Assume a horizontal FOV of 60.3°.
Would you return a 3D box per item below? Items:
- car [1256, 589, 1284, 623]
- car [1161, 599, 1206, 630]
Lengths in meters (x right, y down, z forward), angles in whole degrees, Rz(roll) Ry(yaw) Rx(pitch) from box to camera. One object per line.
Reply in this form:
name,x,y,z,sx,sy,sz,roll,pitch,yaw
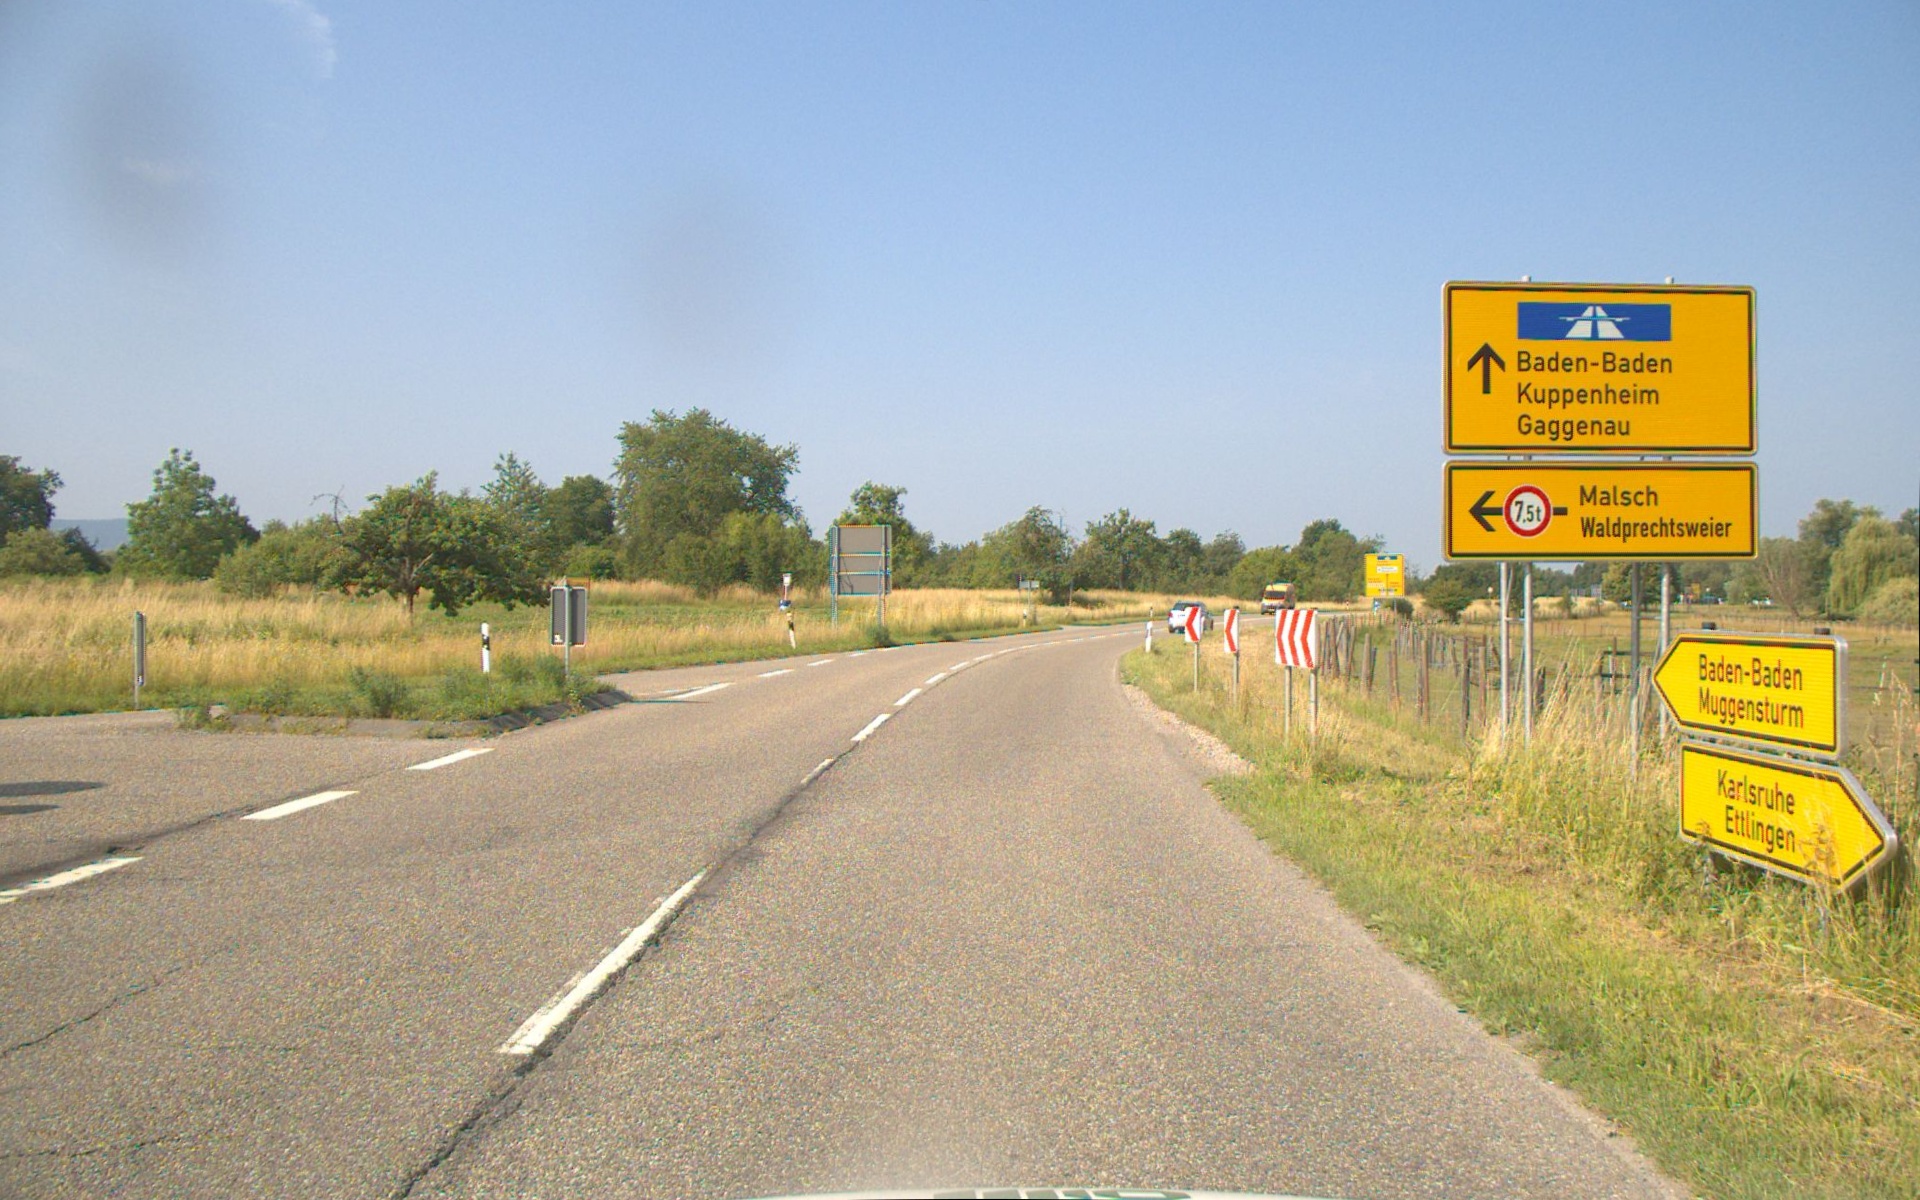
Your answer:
car,25.945,0.488,138.221,2.078,2.743,5.273,1,0,12
car,11.695,0.764,86.353,1.859,1.538,4.003,1,0,14
